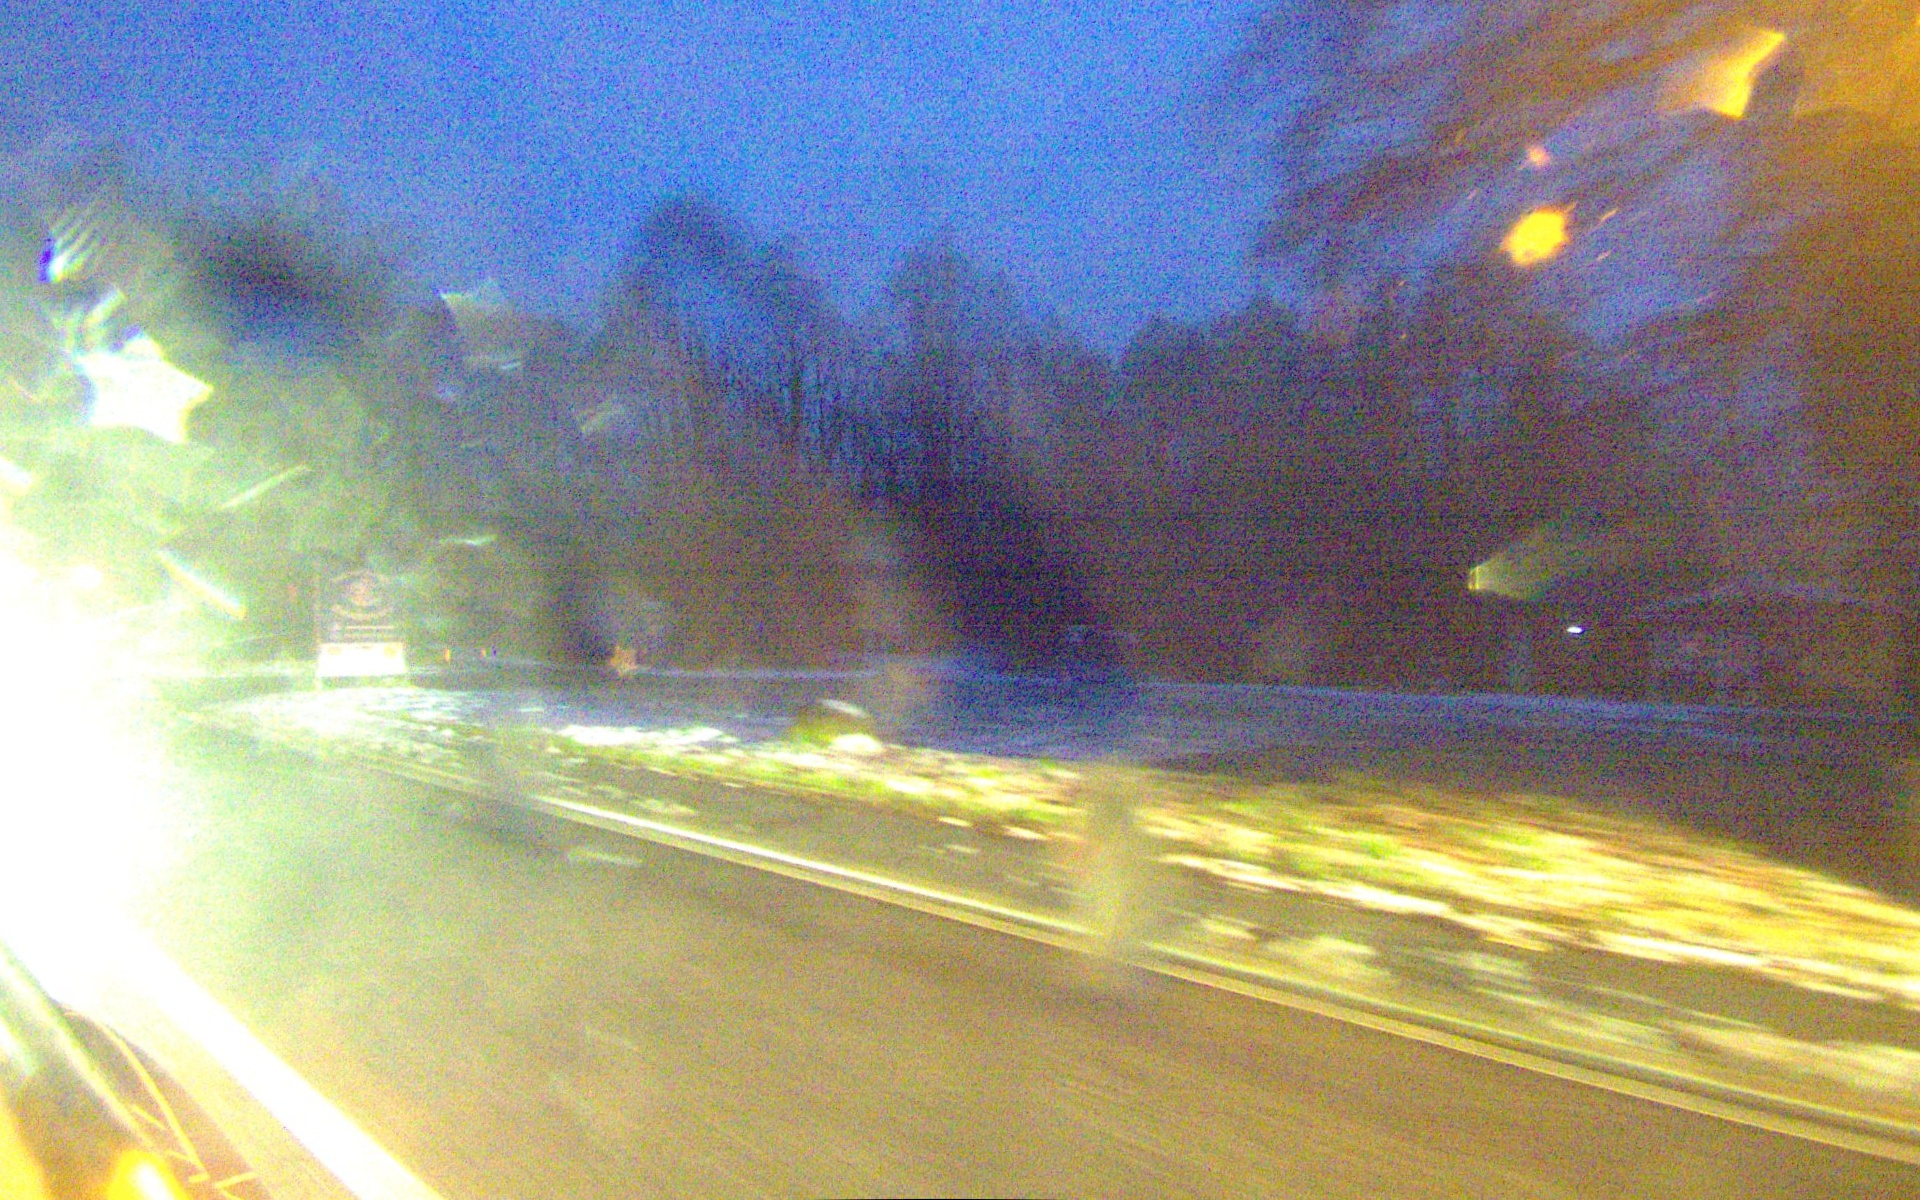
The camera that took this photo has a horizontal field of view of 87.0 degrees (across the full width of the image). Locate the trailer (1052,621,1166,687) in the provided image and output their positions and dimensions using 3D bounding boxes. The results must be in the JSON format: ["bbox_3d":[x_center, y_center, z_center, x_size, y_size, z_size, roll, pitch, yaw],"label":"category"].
[{"bbox_3d":[5.641,2.053,38.229,3.745,2.234,1.980,5,-2,-30],"label":"trailer"}]
